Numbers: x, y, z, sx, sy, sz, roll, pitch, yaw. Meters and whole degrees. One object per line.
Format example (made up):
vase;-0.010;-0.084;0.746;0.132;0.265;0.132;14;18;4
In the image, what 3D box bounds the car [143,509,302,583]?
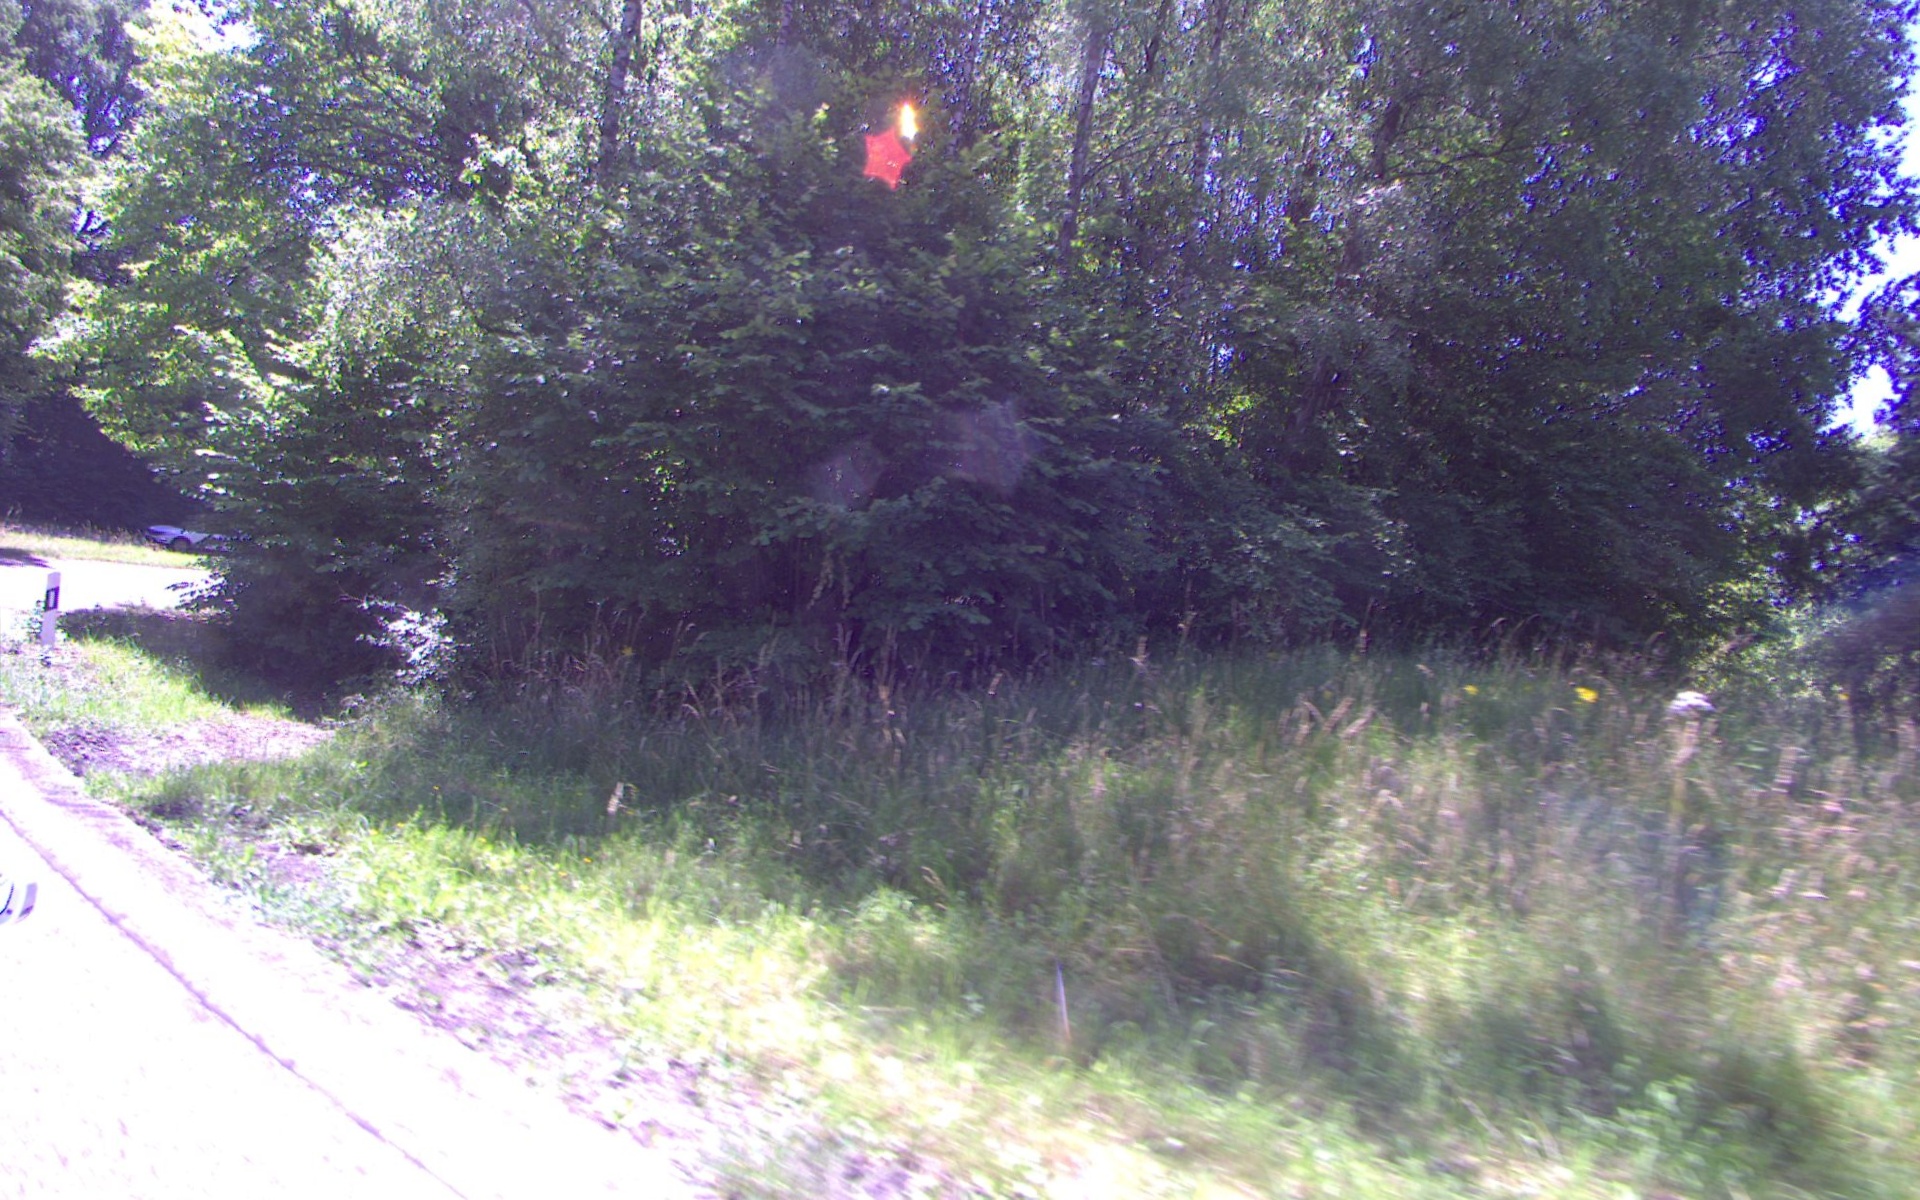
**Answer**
car;-34.229;-2.455;46.908;2.031;2.372;5.429;11;-1;25
